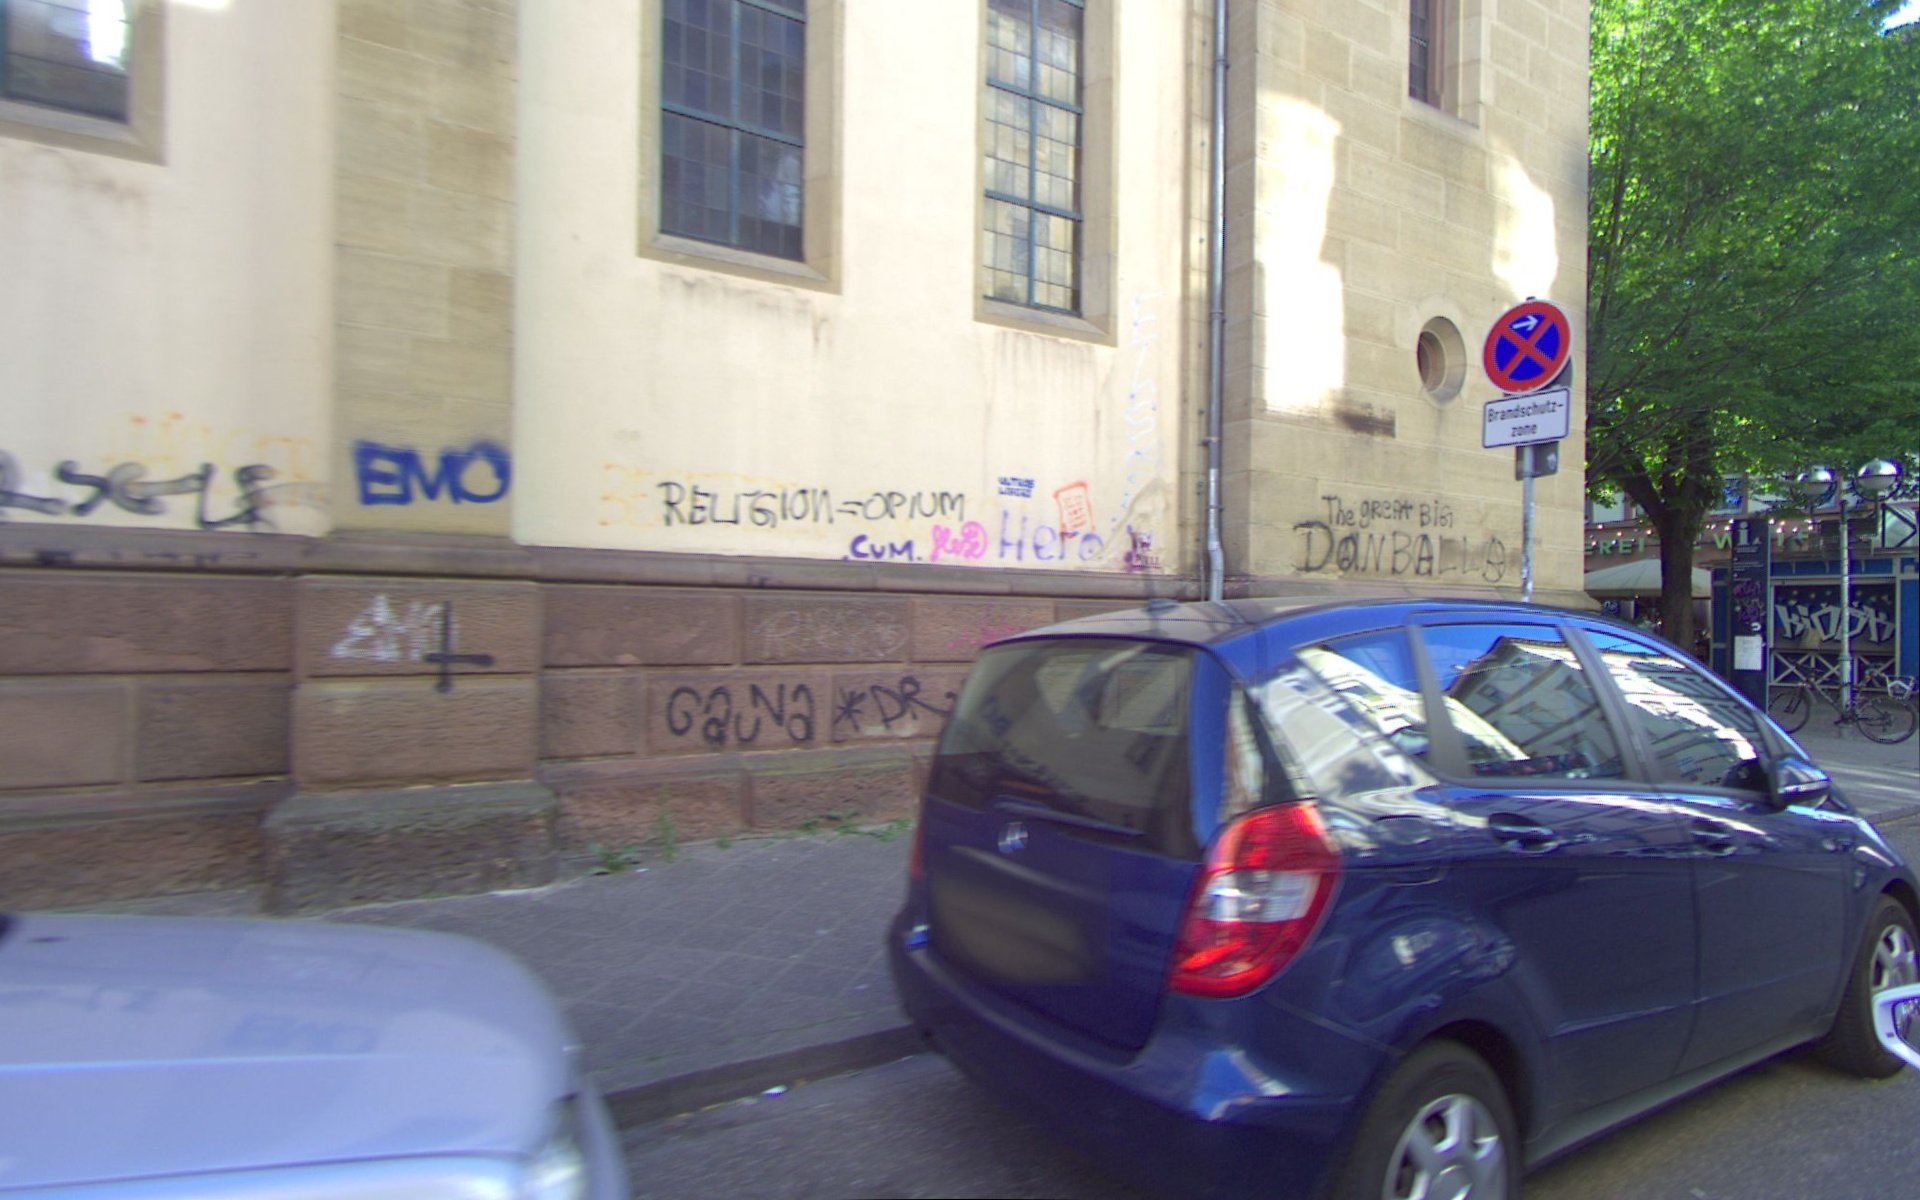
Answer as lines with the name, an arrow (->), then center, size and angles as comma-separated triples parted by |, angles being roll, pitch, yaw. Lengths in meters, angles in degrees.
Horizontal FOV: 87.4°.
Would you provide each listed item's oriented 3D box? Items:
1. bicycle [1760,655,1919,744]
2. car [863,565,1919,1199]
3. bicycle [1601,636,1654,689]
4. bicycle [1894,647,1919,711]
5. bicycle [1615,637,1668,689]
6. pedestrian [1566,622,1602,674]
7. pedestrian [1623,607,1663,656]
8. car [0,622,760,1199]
bicycle -> 12.261, 1.358, 14.026 | 0.343, 1.079, 1.680 | 2, 0, -31
car -> 1.772, 0.776, 3.497 | 3.789, 1.572, 1.785 | 2, 0, -30
bicycle -> 15.350, 1.419, 23.090 | 1.915, 1.106, 0.227 | -1, 1, -32
bicycle -> 17.119, 1.403, 17.265 | 0.341, 1.097, 1.571 | 2, 0, -19
bicycle -> 15.530, 1.425, 22.883 | 1.915, 1.106, 0.227 | 0, 1, -32
pedestrian -> 16.658, 1.274, 26.801 | 0.627, 1.338, 0.565 | 2, 0, -31
pedestrian -> 19.226, 0.889, 28.269 | 0.604, 1.338, 0.695 | 2, 0, -22
car -> -2.440, 0.717, 1.020 | 4.096, 1.382, 1.565 | 2, 0, -29
